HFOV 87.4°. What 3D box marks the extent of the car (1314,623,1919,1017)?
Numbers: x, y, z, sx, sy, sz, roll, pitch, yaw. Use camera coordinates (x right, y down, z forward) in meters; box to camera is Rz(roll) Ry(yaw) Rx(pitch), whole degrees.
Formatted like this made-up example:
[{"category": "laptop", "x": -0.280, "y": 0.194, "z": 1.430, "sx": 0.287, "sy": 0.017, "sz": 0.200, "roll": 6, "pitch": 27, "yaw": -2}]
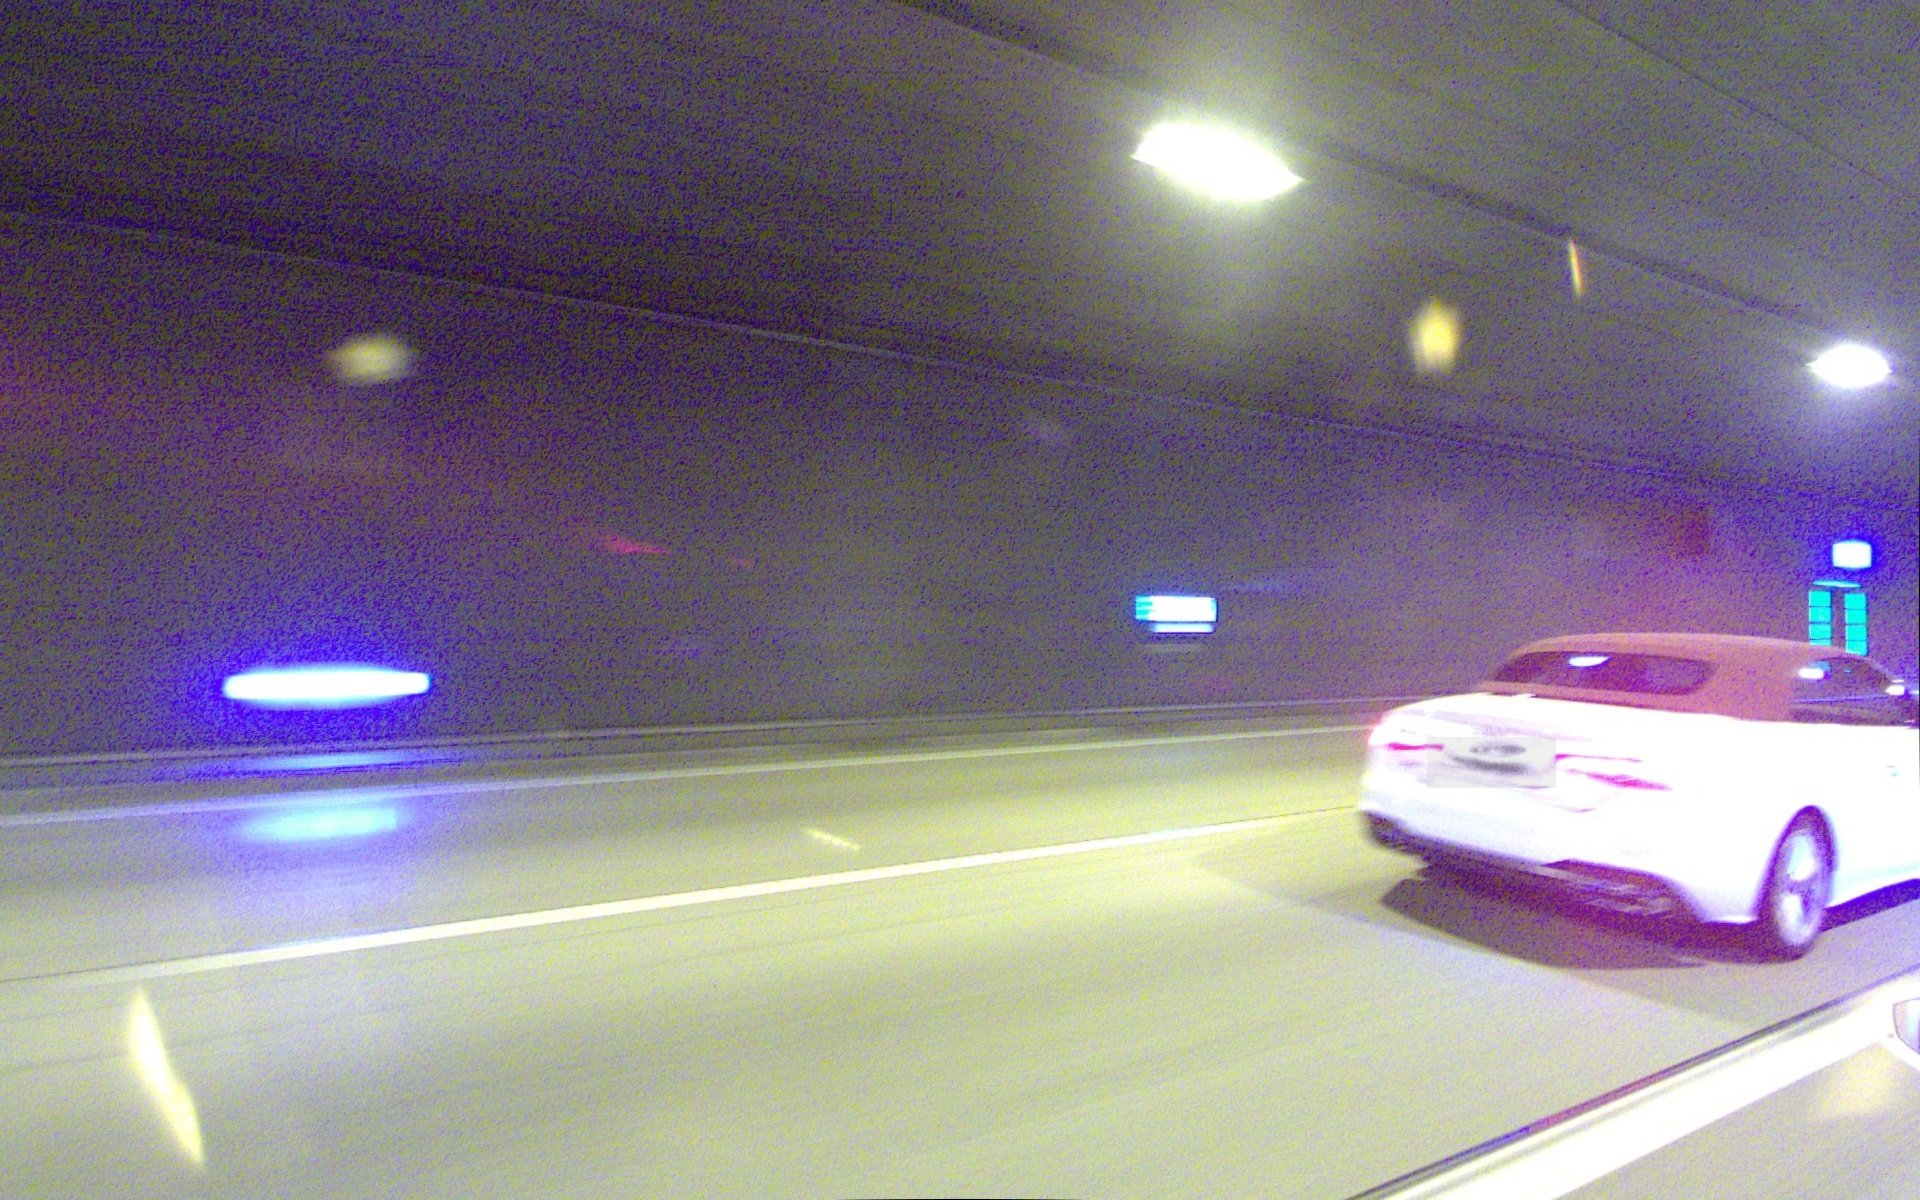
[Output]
[{"category": "car", "x": 4.413, "y": 0.881, "z": 5.741, "sx": 5.001, "sy": 1.438, "sz": 1.694, "roll": 1, "pitch": -1, "yaw": -30}]
